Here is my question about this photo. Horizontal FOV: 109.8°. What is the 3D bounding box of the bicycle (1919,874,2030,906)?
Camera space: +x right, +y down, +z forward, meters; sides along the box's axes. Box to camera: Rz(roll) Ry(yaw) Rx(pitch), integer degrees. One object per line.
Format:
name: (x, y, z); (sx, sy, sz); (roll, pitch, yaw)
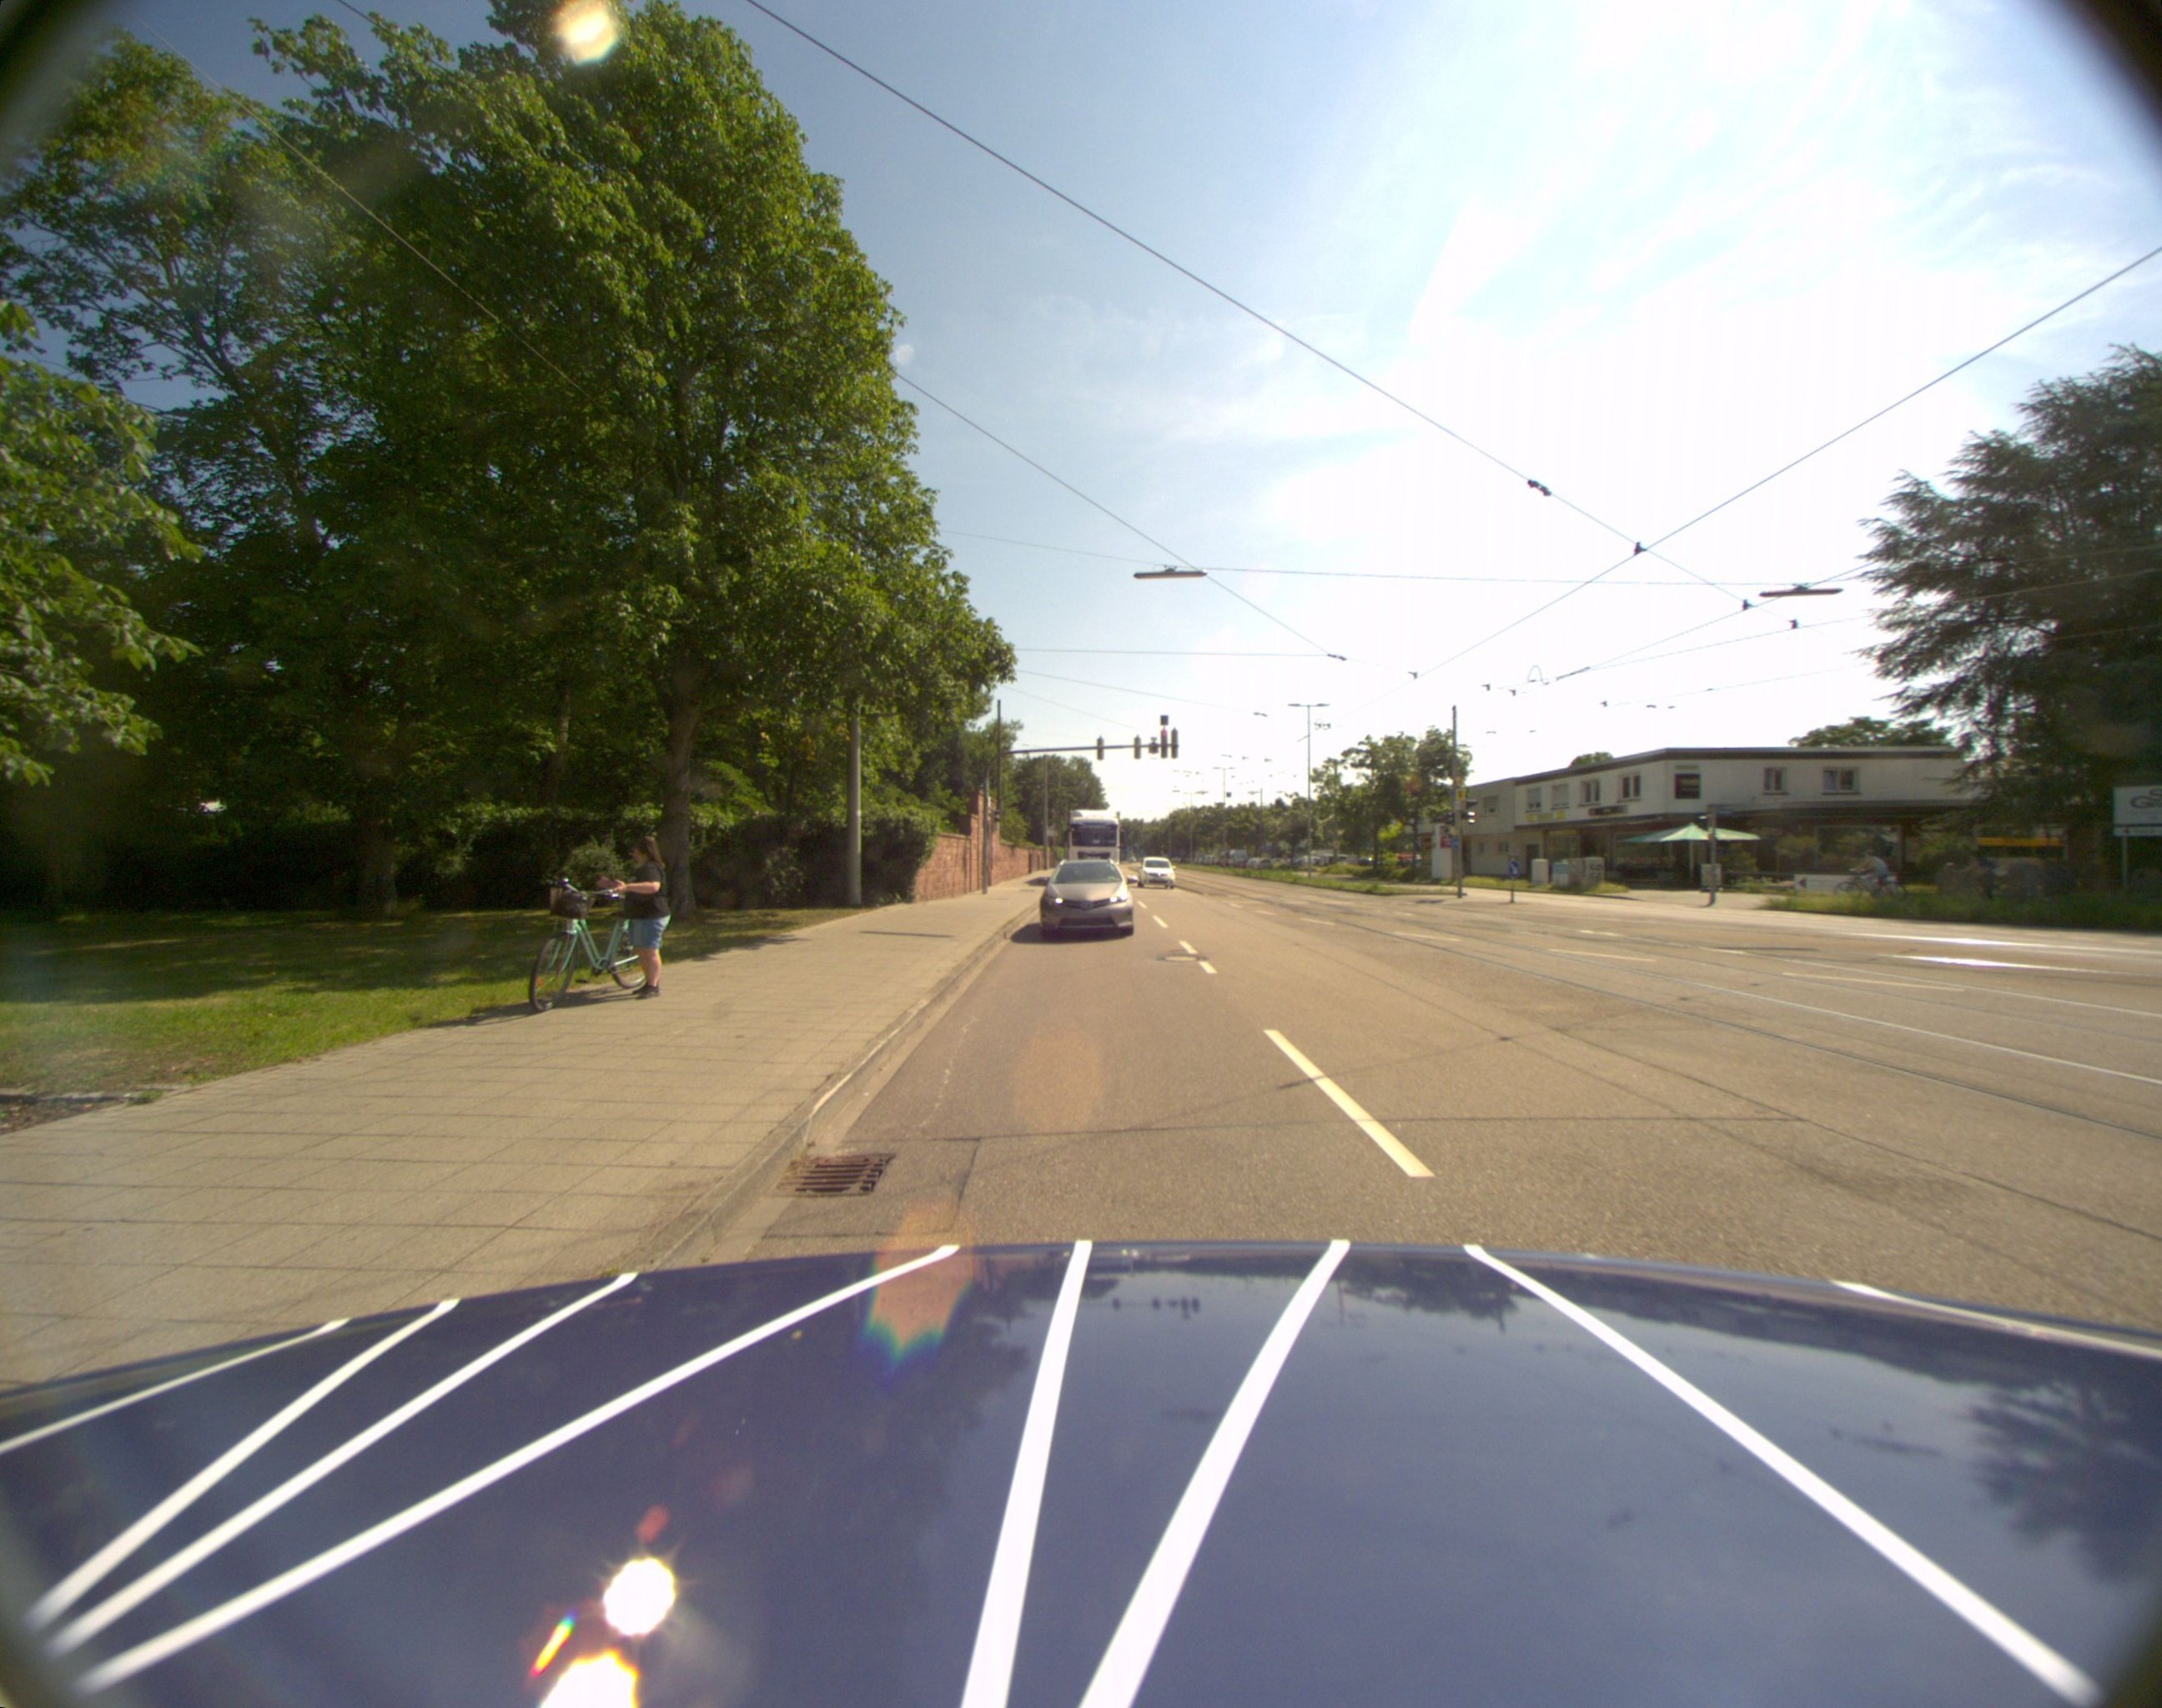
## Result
bicycle: (27.416, 1.075, 23.352); (0.577, 0.885, 2.131); (0, 0, -30)

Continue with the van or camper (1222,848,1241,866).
van or camper: (22.692, 0.415, 114.953); (2.039, 2.616, 4.840); (0, 0, 1)

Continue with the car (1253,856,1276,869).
car: (22.207, 1.023, 91.898); (1.892, 1.486, 4.286); (-3, 0, 3)

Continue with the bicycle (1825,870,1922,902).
bicycle: (25.767, 1.019, 24.765); (0.536, 0.941, 2.132); (0, 0, -21)

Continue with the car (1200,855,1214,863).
car: (23.941, 0.931, 144.379); (1.892, 1.551, 4.232); (0, 0, 1)

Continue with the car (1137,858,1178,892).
car: (3.817, 1.023, 38.431); (1.770, 1.552, 4.067); (1, 0, 2)

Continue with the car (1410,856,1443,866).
car: (45.942, 0.913, 101.179); (3.624, 1.353, 1.712); (0, 0, 0)

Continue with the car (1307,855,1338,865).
car: (33.268, 0.841, 104.719); (3.624, 1.274, 1.813); (0, 0, 0)

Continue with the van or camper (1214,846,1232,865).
van or camper: (22.938, 0.205, 122.842); (2.128, 2.967, 5.282); (0, 0, 1)

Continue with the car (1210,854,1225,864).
car: (23.558, 0.873, 131.444); (1.892, 1.724, 4.232); (0, 0, 1)

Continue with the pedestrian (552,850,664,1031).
pedestrian: (-4.264, 0.747, 6.882); (0.542, 1.540, 0.663); (2, 0, 1)

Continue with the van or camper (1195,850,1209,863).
van or camper: (24.005, 0.493, 150.689); (2.113, 2.604, 5.452); (1, 0, 2)

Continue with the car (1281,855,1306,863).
car: (34.668, 0.774, 124.253); (3.624, 1.274, 1.712); (0, 0, 0)

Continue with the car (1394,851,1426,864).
car: (45.852, 0.467, 105.974); (3.624, 1.767, 1.712); (0, 0, 0)

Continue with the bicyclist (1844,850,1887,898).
bicyclist: (25.738, 0.649, 24.934); (0.632, 1.549, 0.764); (1, 1, -19)

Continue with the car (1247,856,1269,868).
car: (22.609, 1.030, 97.007); (1.892, 1.551, 4.285); (0, 0, 1)

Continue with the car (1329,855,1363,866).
car: (32.751, 0.845, 94.097); (3.624, 1.353, 1.712); (0, 0, 0)

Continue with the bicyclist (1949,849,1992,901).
bicyclist: (27.422, 0.637, 23.423); (0.633, 1.565, 0.764); (0, 1, -33)

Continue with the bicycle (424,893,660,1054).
bicycle: (-4.600, 0.948, 6.663); (0.536, 1.105, 1.808); (1, 1, 11)

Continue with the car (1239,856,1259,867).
car: (22.647, 1.032, 102.474); (1.892, 1.486, 4.232); (0, 0, 1)

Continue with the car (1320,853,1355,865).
car: (32.562, 0.648, 96.569); (3.749, 1.560, 1.951); (0, 0, 0)

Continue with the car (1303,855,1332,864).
car: (34.062, 0.833, 109.642); (3.624, 1.274, 1.712); (0, 0, 0)

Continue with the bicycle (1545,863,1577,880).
bicycle: (28.960, 1.026, 45.903); (0.760, 0.977, 1.911); (0, 0, 2)

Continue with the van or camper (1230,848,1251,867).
van or camper: (22.601, 0.449, 107.896); (2.039, 2.616, 4.840); (0, 0, 1)

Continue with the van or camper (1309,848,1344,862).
van or camper: (48.069, 0.169, 148.749); (6.080, 2.714, 2.300); (0, 0, 4)

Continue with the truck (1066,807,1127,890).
truck: (0.893, -0.271, 40.471); (2.746, 3.852, 9.112); (2, 0, 2)

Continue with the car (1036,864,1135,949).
car: (0.160, 0.956, 15.641); (1.742, 1.424, 4.463); (0, 0, 2)
